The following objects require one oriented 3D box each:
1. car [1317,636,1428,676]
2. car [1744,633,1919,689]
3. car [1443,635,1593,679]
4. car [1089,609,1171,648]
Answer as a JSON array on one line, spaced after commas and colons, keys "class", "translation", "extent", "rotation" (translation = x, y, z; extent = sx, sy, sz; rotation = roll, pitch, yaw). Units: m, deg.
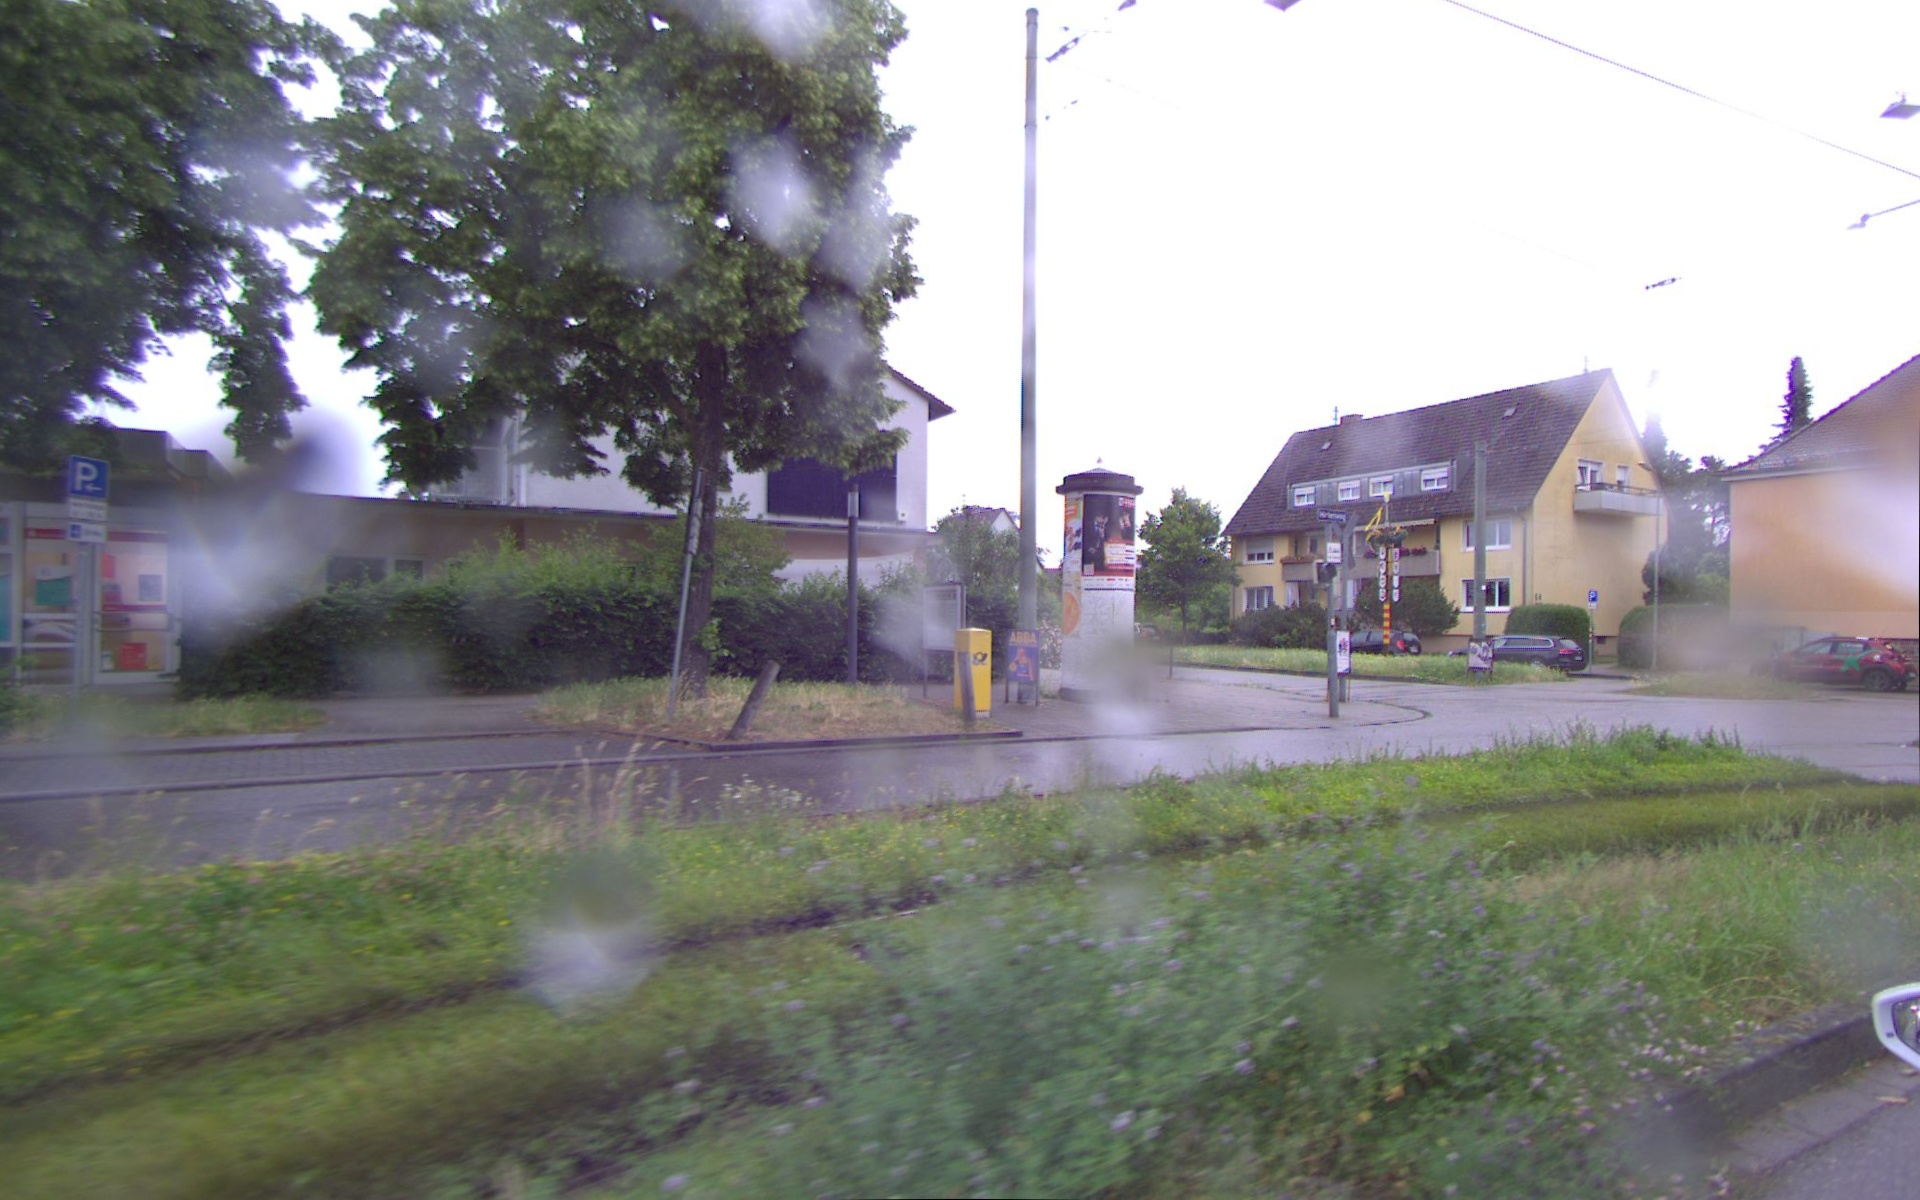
[{"class": "car", "translation": [17.026, 2.265, 41.620], "extent": [1.741, 1.350, 3.963], "rotation": [1, 1, -33]}, {"class": "car", "translation": [25.404, 1.724, 29.324], "extent": [1.704, 1.357, 3.584], "rotation": [1, 1, -32]}, {"class": "car", "translation": [20.448, 2.033, 36.965], "extent": [1.945, 1.414, 4.466], "rotation": [1, -1, -32]}, {"class": "car", "translation": [8.846, 1.466, 52.517], "extent": [1.982, 1.818, 3.957], "rotation": [1, 1, -37]}]
